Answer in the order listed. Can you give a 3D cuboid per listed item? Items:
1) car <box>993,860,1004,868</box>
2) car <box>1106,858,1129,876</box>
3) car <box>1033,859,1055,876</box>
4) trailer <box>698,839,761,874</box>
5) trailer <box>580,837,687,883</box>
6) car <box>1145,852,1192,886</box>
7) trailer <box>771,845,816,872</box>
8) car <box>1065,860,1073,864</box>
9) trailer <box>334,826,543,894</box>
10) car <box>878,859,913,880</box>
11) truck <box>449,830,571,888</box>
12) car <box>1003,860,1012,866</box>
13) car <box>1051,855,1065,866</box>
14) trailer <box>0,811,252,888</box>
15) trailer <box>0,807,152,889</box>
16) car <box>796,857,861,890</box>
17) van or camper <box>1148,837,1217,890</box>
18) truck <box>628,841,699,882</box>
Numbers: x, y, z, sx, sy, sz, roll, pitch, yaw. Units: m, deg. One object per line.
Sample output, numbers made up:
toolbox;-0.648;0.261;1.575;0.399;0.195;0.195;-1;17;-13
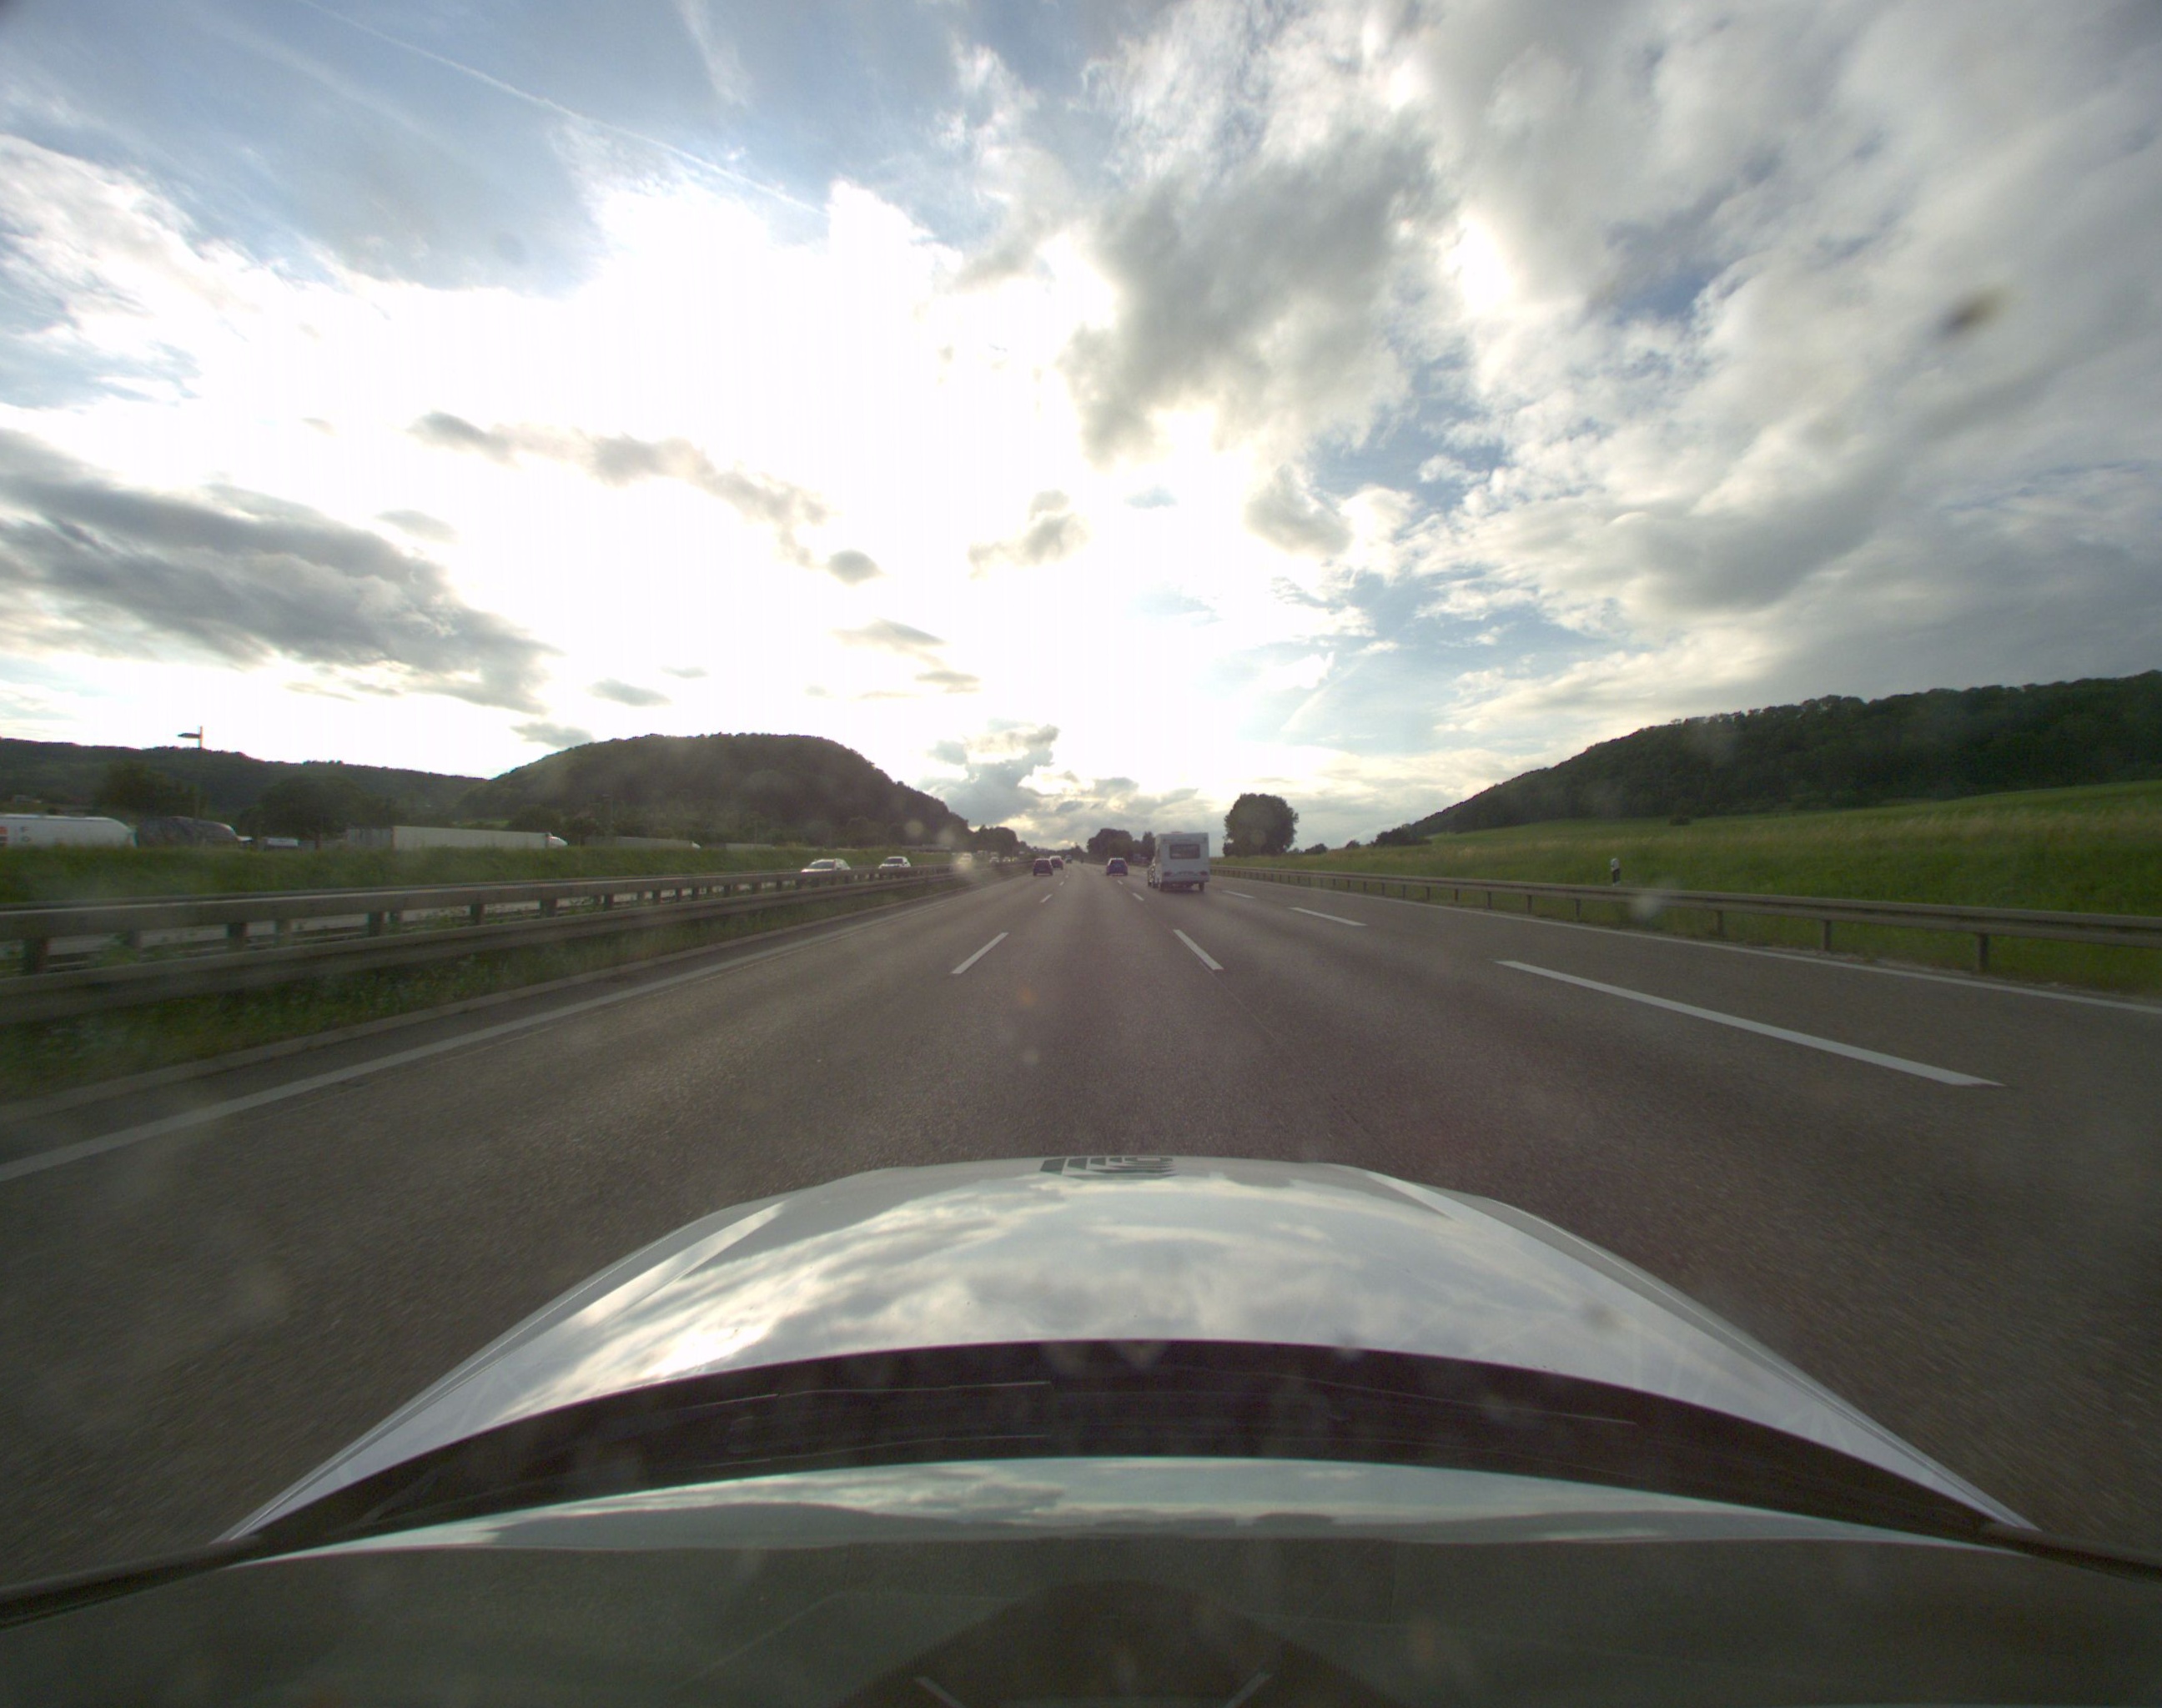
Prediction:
car;-16.030;1.871;158.529;1.946;1.475;3.870;-1;0;-2
car;3.042;1.111;68.625;1.761;1.433;3.999;-2;-1;0
car;-3.248;1.169;71.492;1.532;1.348;3.679;-1;0;3
trailer;-40.693;0.277;94.677;2.869;3.696;10.368;-2;0;-1
trailer;-40.214;0.634;74.060;2.871;3.696;13.657;-2;-1;-4
car;4.396;0.734;41.576;1.781;1.652;4.478;0;0;-2
trailer;-41.296;0.604;117.548;2.869;3.696;10.368;-2;0;-1
car;-3.367;2.316;231.653;1.749;1.222;3.991;-1;0;-6
trailer;-39.689;0.363;51.404;2.870;3.696;13.661;-1;0;-3
car;-14.834;1.225;65.383;1.801;1.614;4.341;0;-2;1
truck;-39.895;0.407;57.372;2.875;3.691;8.483;-2;-1;-3
car;-18.877;2.222;208.569;1.946;1.448;3.870;-1;0;-2
car;-2.935;0.839;104.608;1.559;1.380;4.001;-1;0;1
trailer;-39.225;-0.074;33.557;2.604;2.854;7.302;0;-2;0
trailer;-39.173;-0.245;27.035;2.571;2.854;12.257;0;-2;0
car;-13.046;0.962;42.384;1.834;1.530;4.218;-2;0;3
van or camper;4.537;0.472;37.202;2.539;2.240;5.328;0;-2;0
truck;-40.489;0.733;79.383;2.875;3.691;8.481;-2;-1;-3
